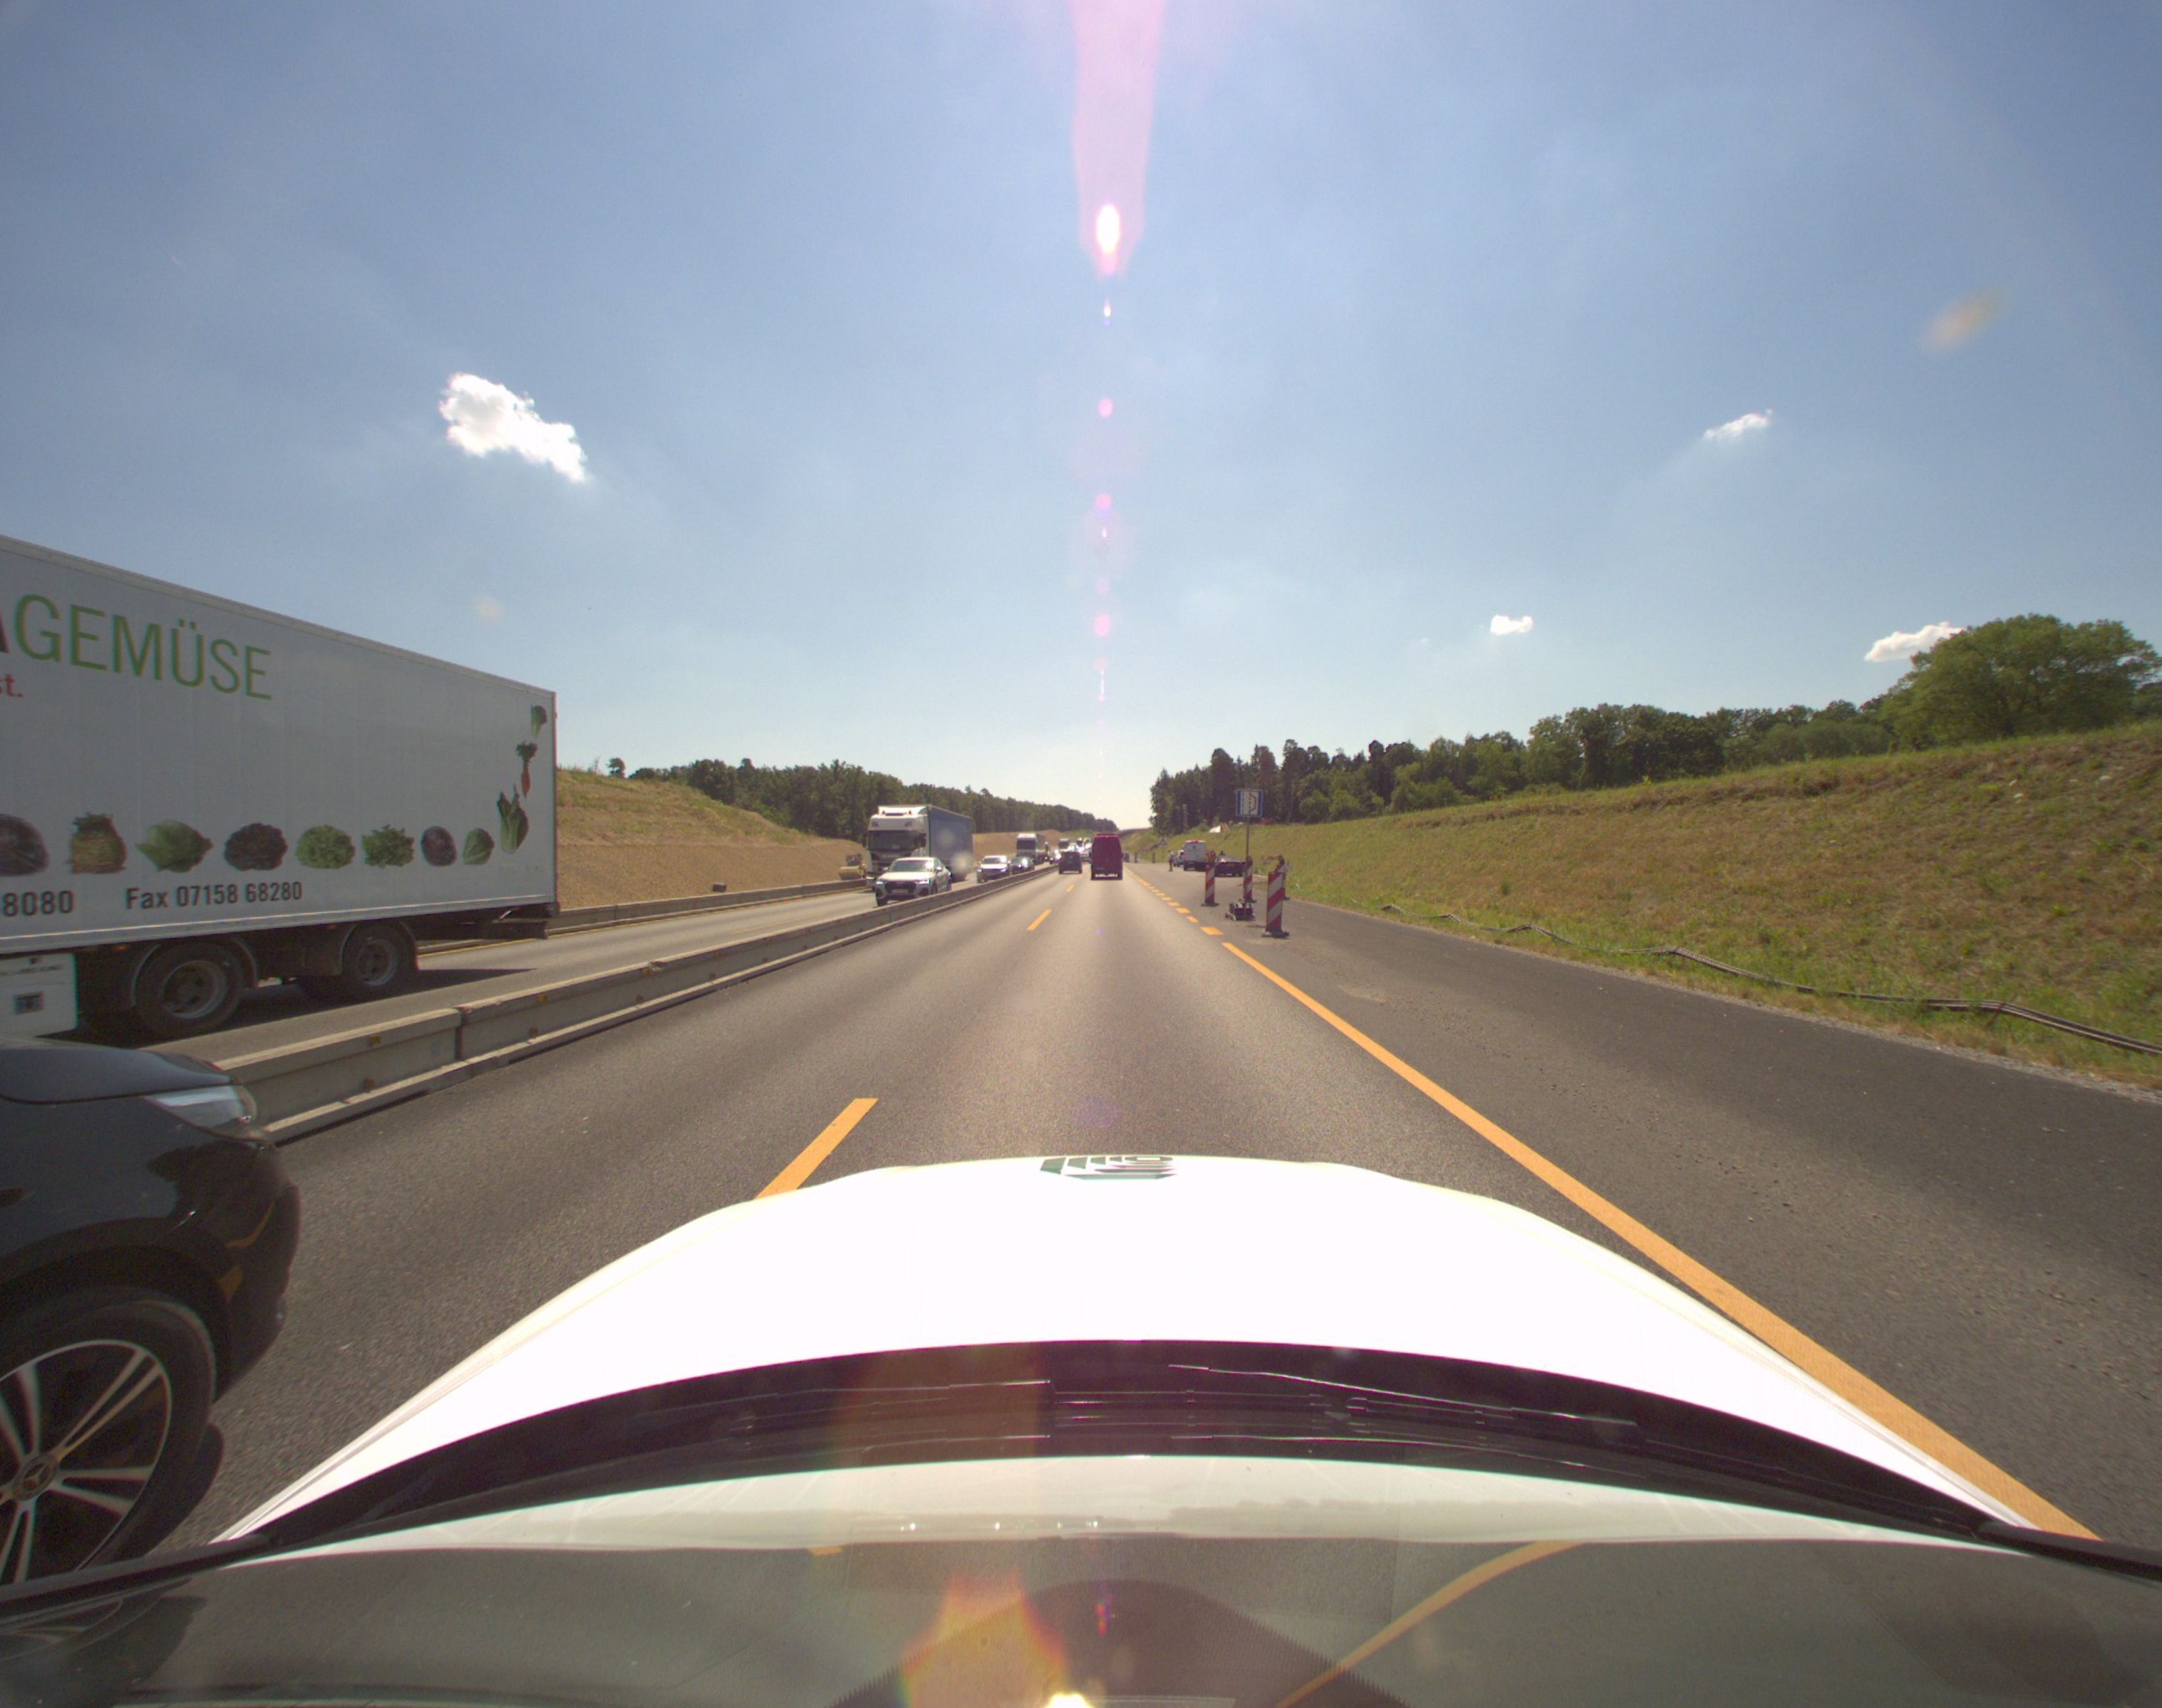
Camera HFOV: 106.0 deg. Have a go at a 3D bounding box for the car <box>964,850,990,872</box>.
[{"bbox_3d":[-9.213,0.638,72.347,1.711,1.875,4.002,0,-1,2],"label":"car"}]

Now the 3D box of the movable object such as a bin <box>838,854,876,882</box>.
[{"bbox_3d":[-26.703,1.583,97.470,2.160,3.109,7.169,-3,0,2],"label":"movable object such as a bin"}]

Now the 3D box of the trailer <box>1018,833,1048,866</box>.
[{"bbox_3d":[-6.289,-0.548,108.367,2.780,4.075,13.715,0,0,1],"label":"trailer"}]

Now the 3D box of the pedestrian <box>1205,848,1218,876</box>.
[{"bbox_3d":[8.537,0.491,53.415,0.642,1.828,0.555,0,0,-20],"label":"pedestrian"}]

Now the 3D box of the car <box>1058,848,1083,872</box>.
[{"bbox_3d":[-0.795,0.444,65.368,1.745,1.824,4.784,0,0,2],"label":"car"}]

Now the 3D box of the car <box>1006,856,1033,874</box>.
[{"bbox_3d":[-4.756,0.864,63.483,1.723,1.387,4.861,0,-1,1],"label":"car"}]

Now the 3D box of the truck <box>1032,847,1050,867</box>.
[{"bbox_3d":[-6.255,0.501,127.527,2.389,3.059,5.065,0,-1,2],"label":"truck"}]

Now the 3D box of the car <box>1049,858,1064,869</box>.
[{"bbox_3d":[-3.221,1.303,108.477,1.721,1.387,4.484,0,-1,1],"label":"car"}]

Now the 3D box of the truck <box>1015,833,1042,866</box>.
[{"bbox_3d":[-6.501,-0.509,101.621,2.758,4.044,4.945,0,-1,2],"label":"truck"}]

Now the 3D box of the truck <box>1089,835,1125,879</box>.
[{"bbox_3d":[1.663,0.224,51.631,2.145,2.590,5.335,0,-1,2],"label":"truck"}]

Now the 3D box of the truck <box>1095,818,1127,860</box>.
[{"bbox_3d":[4.370,-2.012,120.010,4.384,5.496,16.608,0,-1,2],"label":"truck"}]

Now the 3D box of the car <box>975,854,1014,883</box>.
[{"bbox_3d":[-5.024,0.812,47.864,1.769,1.555,4.139,-3,0,0],"label":"car"}]

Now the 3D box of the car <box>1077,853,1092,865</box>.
[{"bbox_3d":[0.496,0.691,108.765,1.824,1.522,3.962,0,-1,2],"label":"car"}]

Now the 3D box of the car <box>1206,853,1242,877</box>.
[{"bbox_3d":[9.406,0.708,53.797,1.647,1.426,4.547,-3,0,2],"label":"car"}]

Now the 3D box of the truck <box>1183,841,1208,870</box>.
[{"bbox_3d":[10.120,0.117,71.769,2.117,2.457,5.940,0,0,9],"label":"truck"}]

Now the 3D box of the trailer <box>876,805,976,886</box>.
[{"bbox_3d":[-8.432,-0.383,46.534,2.643,3.938,14.000,0,0,2],"label":"trailer"}]

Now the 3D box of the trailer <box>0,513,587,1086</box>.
[{"bbox_3d":[-9.153,-0.374,4.709,2.493,4.179,15.540,-2,0,2],"label":"trailer"}]

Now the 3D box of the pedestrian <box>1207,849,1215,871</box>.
[{"bbox_3d":[10.861,0.518,67.864,0.561,1.795,0.667,0,-1,0],"label":"pedestrian"}]

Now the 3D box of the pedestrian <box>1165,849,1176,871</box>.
[{"bbox_3d":[7.532,0.470,68.350,0.724,1.828,0.717,0,-1,-13],"label":"pedestrian"}]

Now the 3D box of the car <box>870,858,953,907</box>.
[{"bbox_3d":[-5.527,0.896,27.097,1.801,1.488,4.243,0,-1,1],"label":"car"}]

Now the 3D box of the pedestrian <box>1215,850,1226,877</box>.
[{"bbox_3d":[9.753,0.647,56.896,0.624,1.828,0.640,0,0,-10],"label":"pedestrian"}]

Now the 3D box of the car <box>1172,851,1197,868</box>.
[{"bbox_3d":[10.823,0.548,85.448,1.770,1.677,4.851,0,1,-2],"label":"car"}]

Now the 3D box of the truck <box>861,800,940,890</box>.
[{"bbox_3d":[-8.595,-0.421,39.327,2.583,4.053,5.150,0,0,1],"label":"truck"}]

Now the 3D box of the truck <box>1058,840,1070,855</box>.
[{"bbox_3d":[-4.172,-1.518,201.304,2.499,3.617,9.646,0,-1,2],"label":"truck"}]
